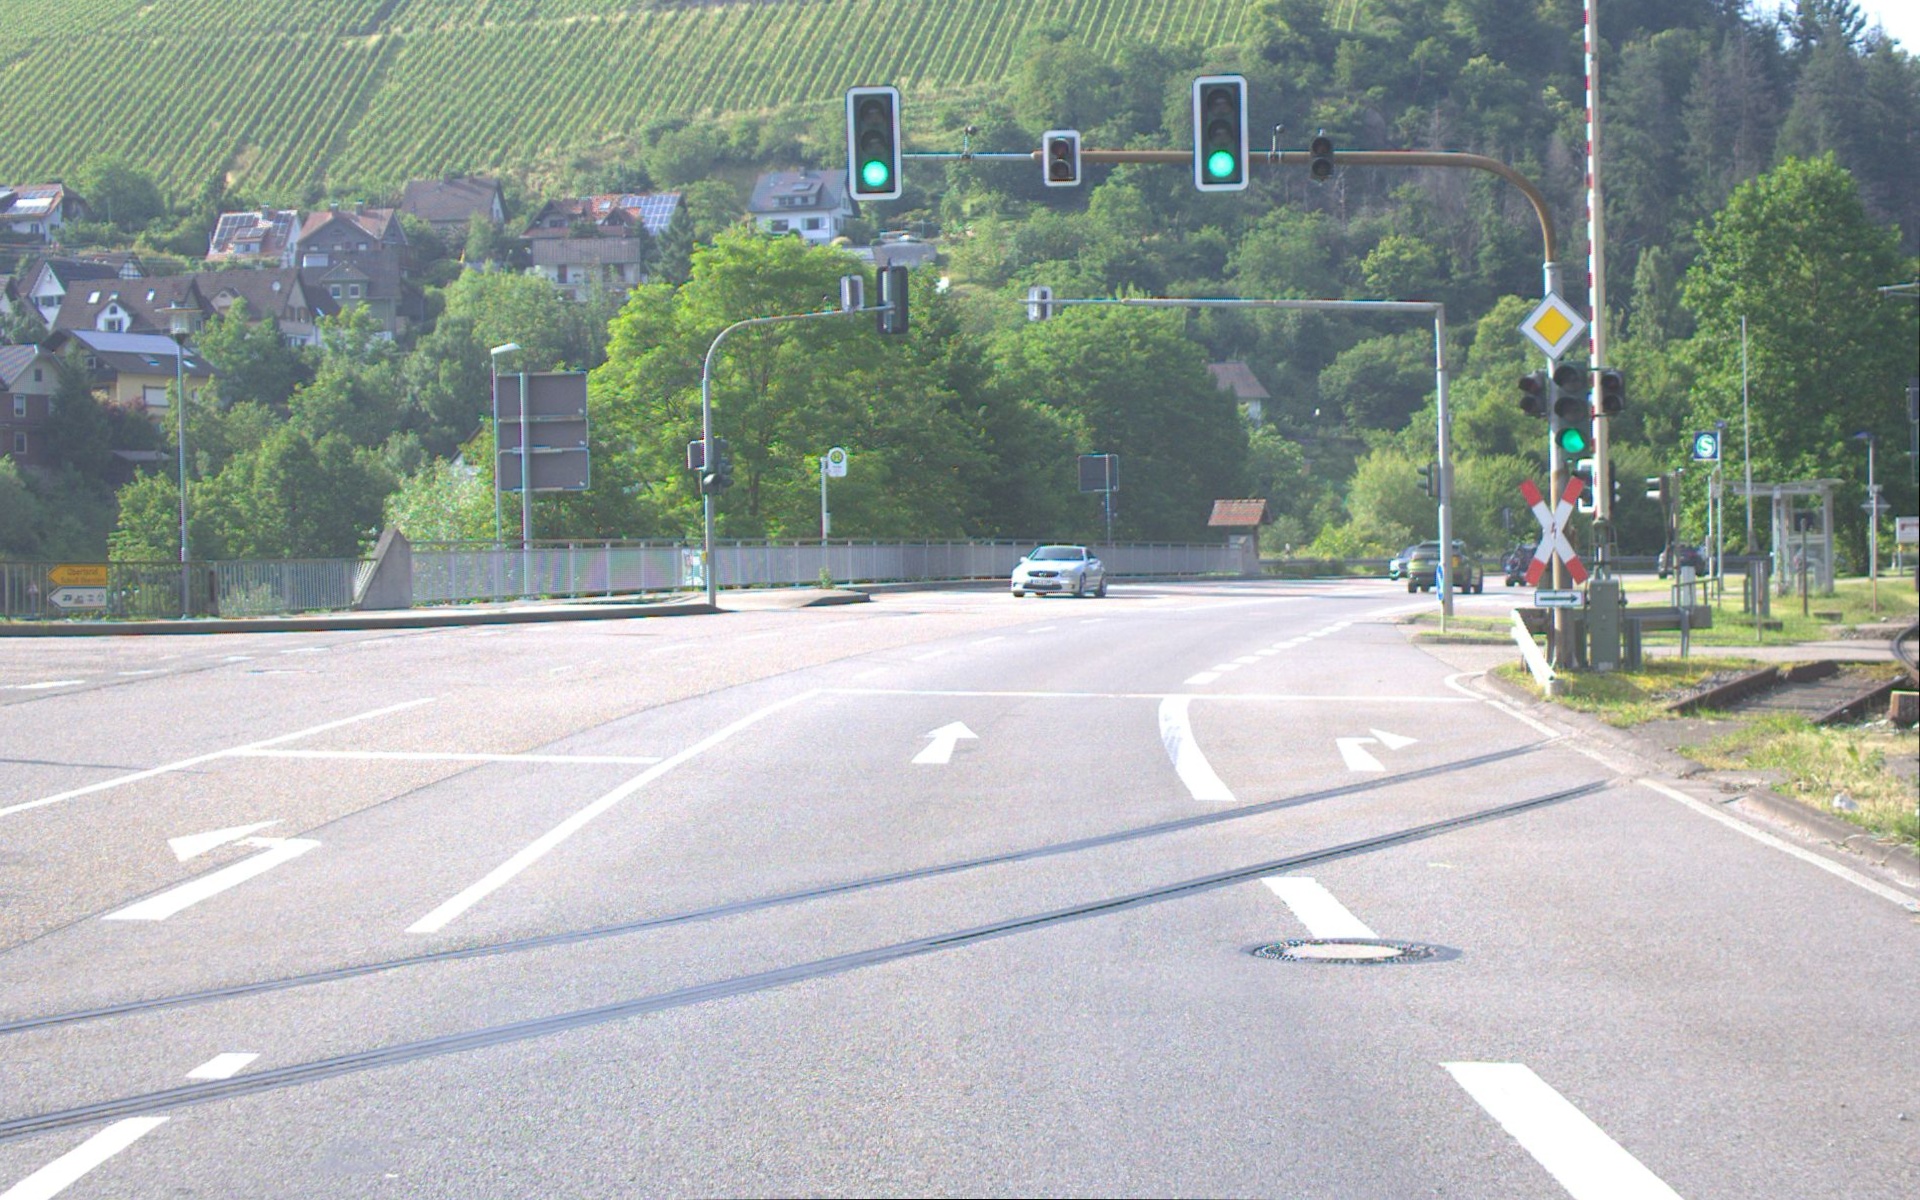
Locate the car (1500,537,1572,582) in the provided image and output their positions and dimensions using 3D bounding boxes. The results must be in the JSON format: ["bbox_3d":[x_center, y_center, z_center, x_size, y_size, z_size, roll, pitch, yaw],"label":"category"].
[{"bbox_3d":[19.631,-1.386,117.094,1.841,1.454,3.710,-2,0,18],"label":"car"}]

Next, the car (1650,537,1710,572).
[{"bbox_3d":[31.130,-1.974,148.572,1.809,1.448,3.643,-2,0,23],"label":"car"}]

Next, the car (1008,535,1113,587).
[{"bbox_3d":[2.500,-0.971,84.427,1.646,1.227,4.091,0,1,16],"label":"car"}]

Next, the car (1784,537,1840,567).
[{"bbox_3d":[41.949,-2.362,169.154,1.811,1.403,3.768,-2,0,27],"label":"car"}]

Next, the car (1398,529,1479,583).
[{"bbox_3d":[13.525,-1.241,97.037,1.730,1.452,3.408,-2,0,17],"label":"car"}]
